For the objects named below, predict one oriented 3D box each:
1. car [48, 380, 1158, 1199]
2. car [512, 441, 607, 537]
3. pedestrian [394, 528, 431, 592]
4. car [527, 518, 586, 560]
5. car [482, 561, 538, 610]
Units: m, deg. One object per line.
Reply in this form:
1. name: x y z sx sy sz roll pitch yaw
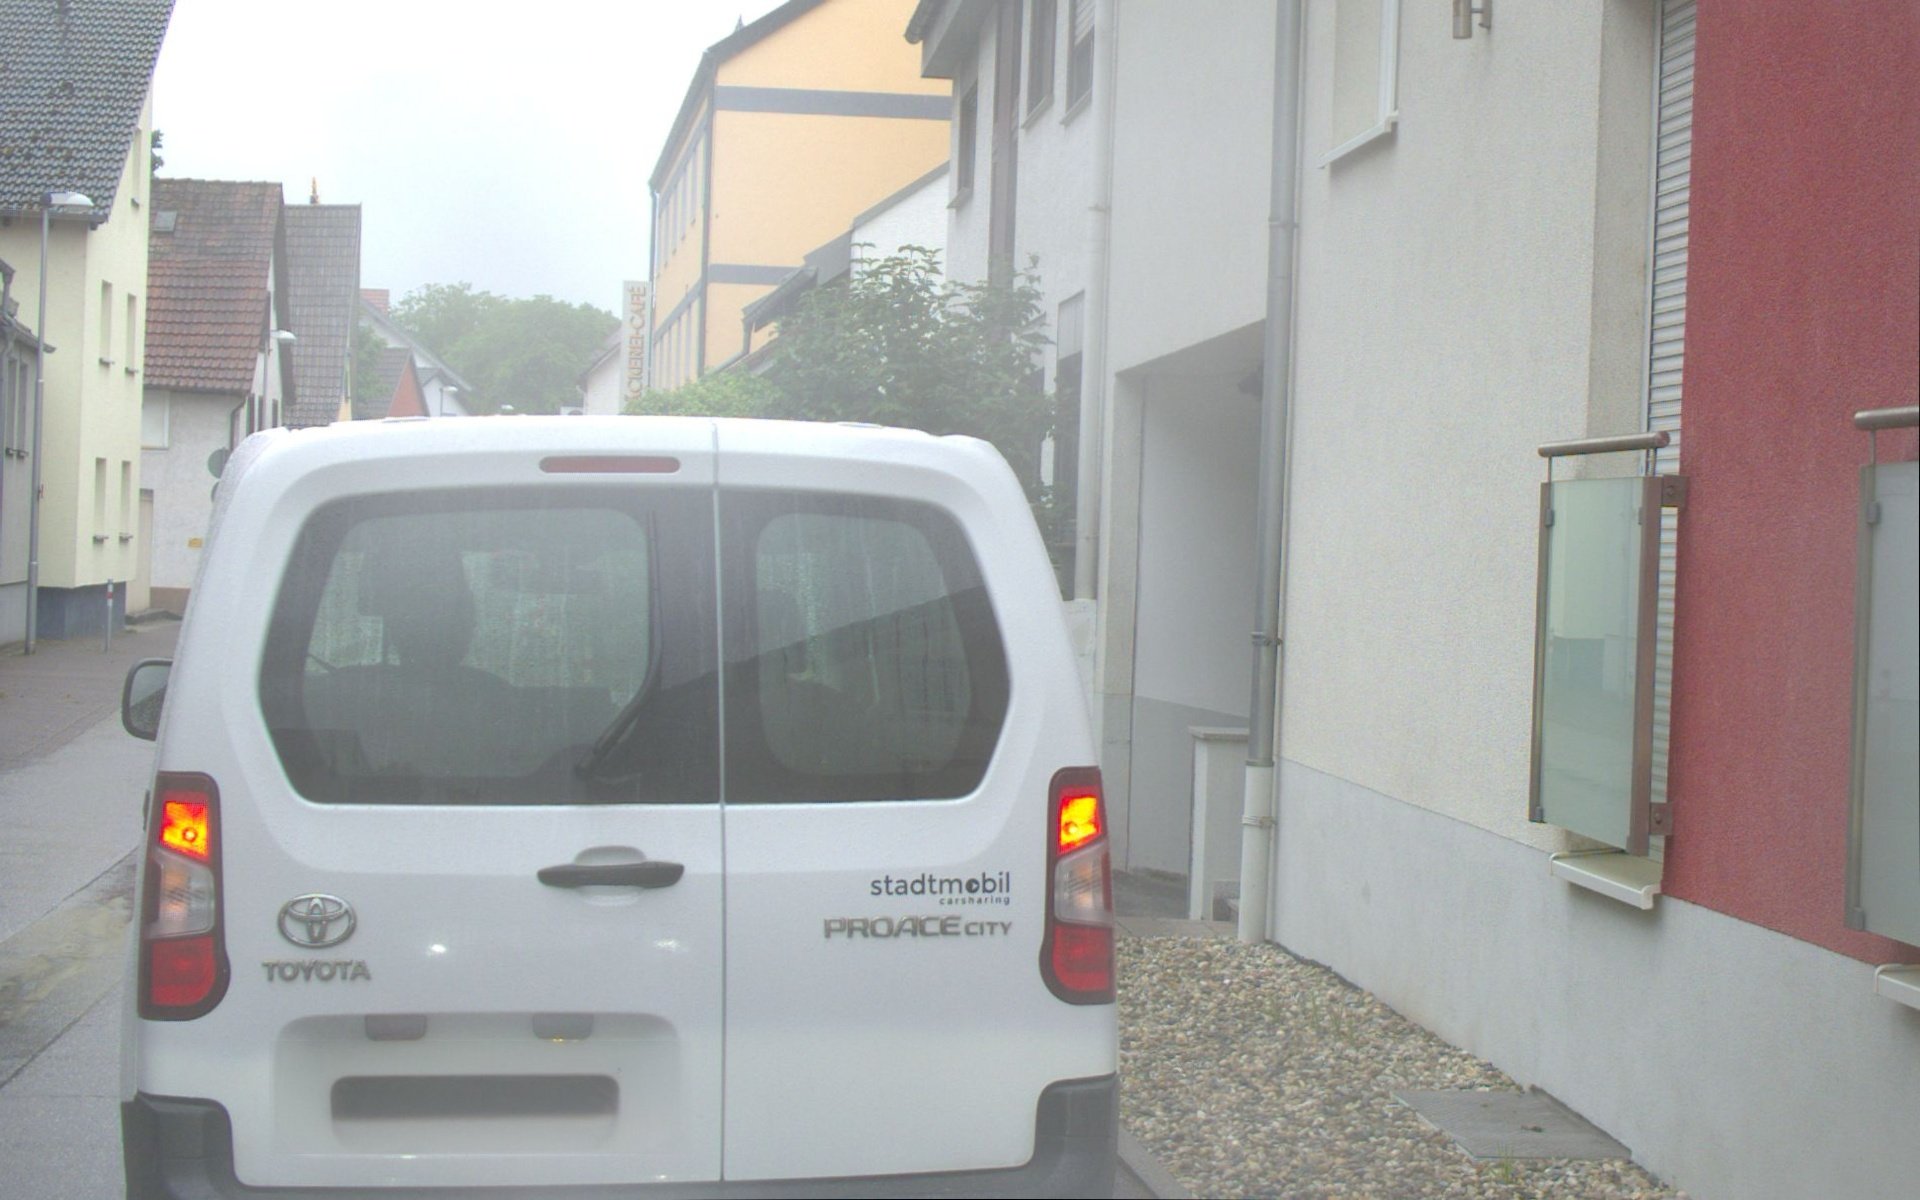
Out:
1. car: -0.870 0.527 7.552 1.774 1.774 4.001 1 1 -9
2. car: -8.865 -2.432 76.325 1.993 2.007 4.001 1 1 -6
3. pedestrian: -16.207 -1.187 101.745 1.050 1.886 0.877 1 0 -9
4. car: -13.959 -2.090 118.842 1.779 1.390 4.001 1 1 -10
5. car: -14.112 -0.470 107.603 1.560 1.472 4.001 1 1 -10
